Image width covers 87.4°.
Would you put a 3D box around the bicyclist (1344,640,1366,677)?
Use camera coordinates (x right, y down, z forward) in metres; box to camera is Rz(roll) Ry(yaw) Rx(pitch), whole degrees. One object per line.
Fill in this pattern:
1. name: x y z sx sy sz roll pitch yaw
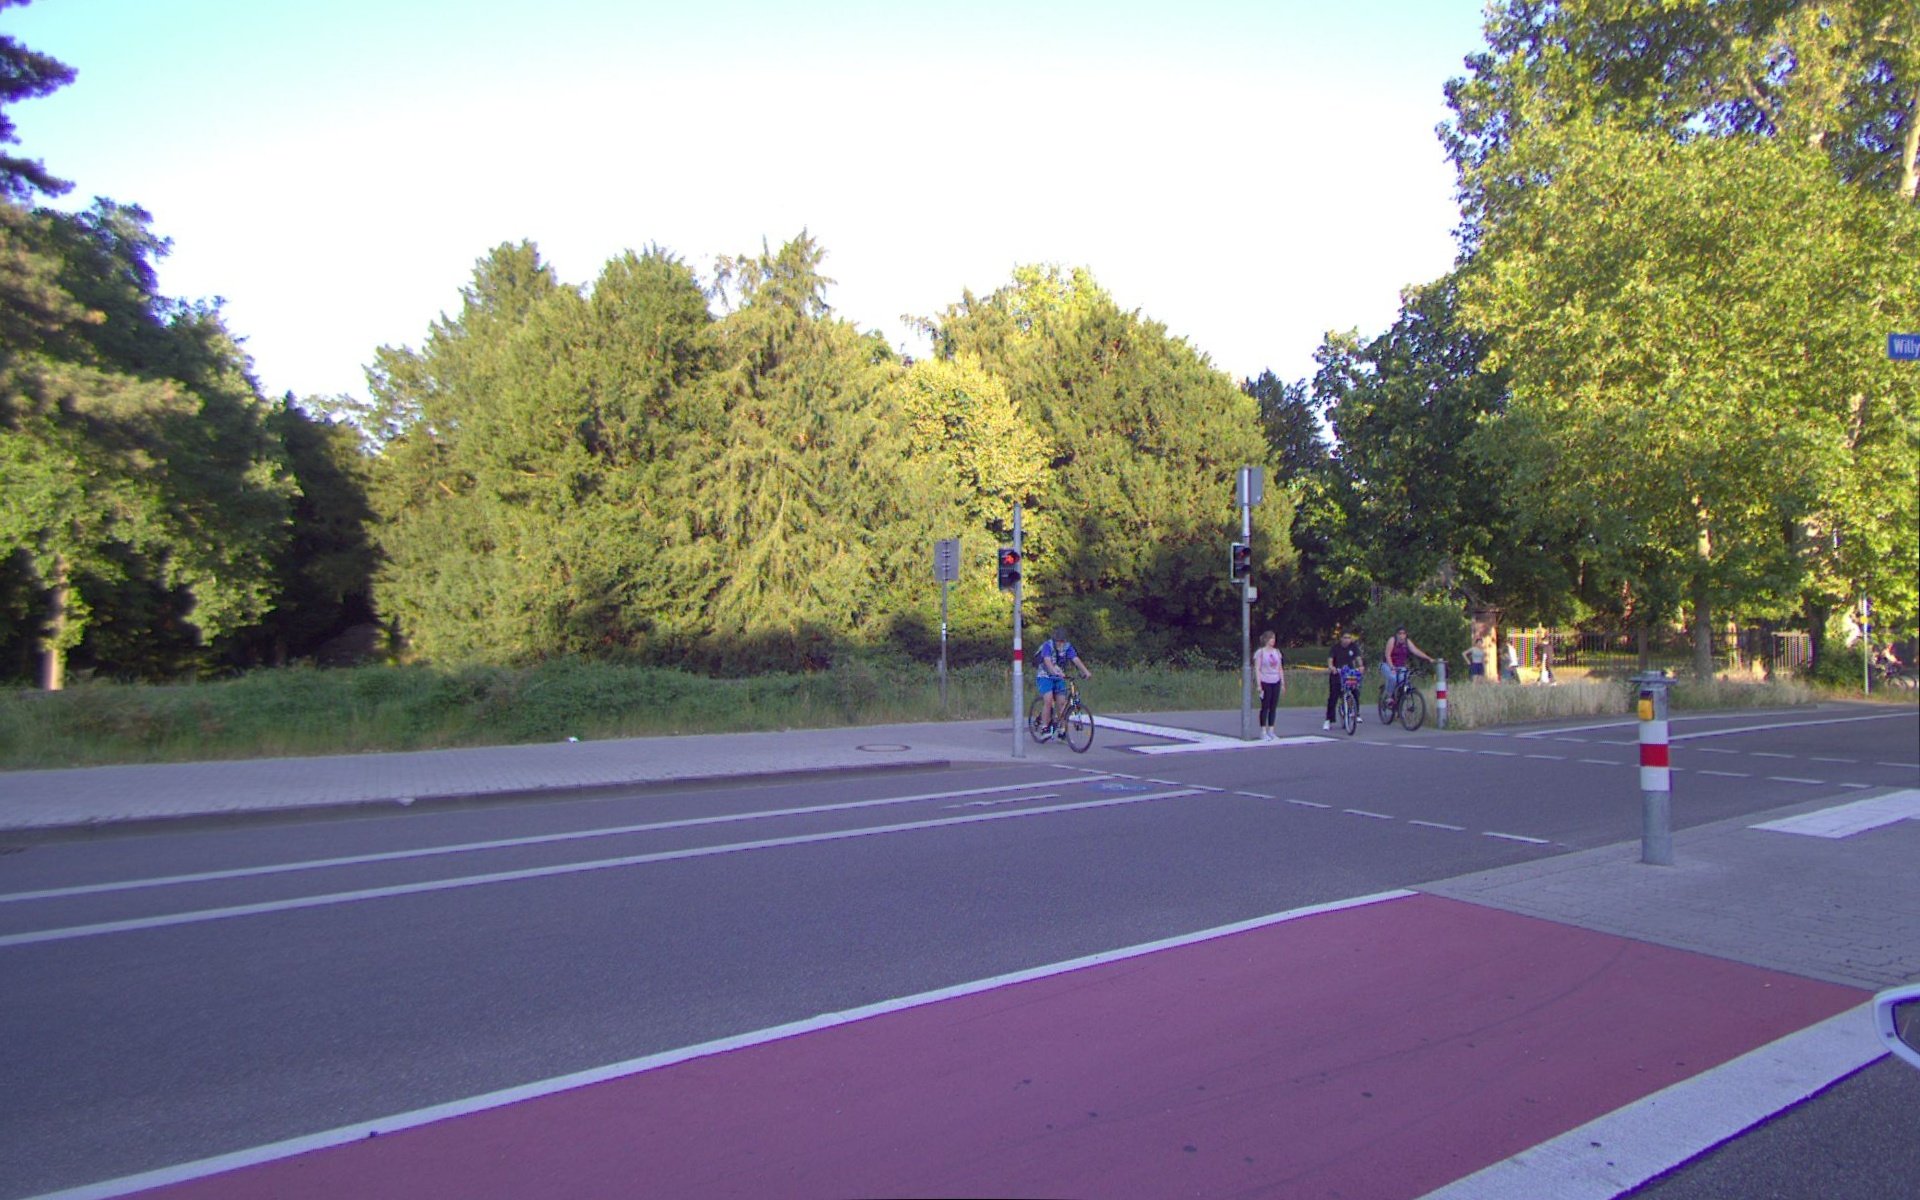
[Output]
1. bicyclist: 16.837 2.476 42.795 0.687 1.579 0.640 2 -2 -43

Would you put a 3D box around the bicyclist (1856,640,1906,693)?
1. bicyclist: 29.366 2.117 32.036 0.743 1.652 0.954 1 -2 -29

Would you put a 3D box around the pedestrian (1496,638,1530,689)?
1. pedestrian: 22.365 2.554 40.641 1.063 2.040 0.757 1 -1 -28

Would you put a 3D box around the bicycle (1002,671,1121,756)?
1. bicycle: 1.482 1.658 15.095 0.763 1.115 2.108 1 -2 -27

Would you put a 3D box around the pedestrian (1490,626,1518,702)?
1. pedestrian: 14.819 1.731 27.359 0.584 2.040 0.642 0 -1 20

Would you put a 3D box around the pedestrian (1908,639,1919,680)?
1. pedestrian: 37.947 2.351 39.700 0.583 1.617 0.533 1 -2 -30

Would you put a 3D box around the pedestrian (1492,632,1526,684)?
1. pedestrian: 22.223 2.334 40.668 0.982 2.040 0.799 1 -1 -30

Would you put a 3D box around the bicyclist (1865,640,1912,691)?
1. bicyclist: 30.698 2.161 33.212 0.743 1.652 0.954 1 -2 -29

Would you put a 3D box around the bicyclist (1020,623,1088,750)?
1. bicyclist: 1.420 1.278 15.179 0.729 1.848 0.705 1 -1 -33

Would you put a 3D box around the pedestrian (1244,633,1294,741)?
1. pedestrian: 5.047 1.403 16.426 0.492 1.718 0.604 1 -2 -28

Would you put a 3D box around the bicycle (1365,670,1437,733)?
1. bicycle: 8.065 1.835 18.429 0.568 1.043 1.772 0 -2 1

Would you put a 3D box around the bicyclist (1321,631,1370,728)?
1. bicyclist: 6.784 1.386 17.693 0.618 1.671 0.640 0 -2 1

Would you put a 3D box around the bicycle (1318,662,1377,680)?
1. bicycle: 16.597 3.027 43.056 0.665 0.700 2.283 2 -3 -43

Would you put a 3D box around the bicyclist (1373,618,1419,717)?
1. bicyclist: 8.071 1.248 18.630 0.564 1.803 0.640 0 -2 1

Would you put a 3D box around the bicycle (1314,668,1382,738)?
1. bicycle: 6.784 1.775 17.642 0.620 1.126 1.569 0 -2 1

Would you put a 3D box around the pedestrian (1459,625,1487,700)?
1. pedestrian: 14.336 1.733 28.073 0.638 2.040 0.606 0 -1 22

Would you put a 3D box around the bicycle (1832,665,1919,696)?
1. bicycle: 30.621 2.662 33.331 0.765 0.936 2.420 1 -2 -29

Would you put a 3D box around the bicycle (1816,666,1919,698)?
1. bicycle: 29.200 2.621 32.316 0.765 0.936 2.420 1 -2 -29

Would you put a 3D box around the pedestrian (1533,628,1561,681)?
1. pedestrian: 22.735 2.106 38.907 0.692 2.040 0.637 1 -2 -29
